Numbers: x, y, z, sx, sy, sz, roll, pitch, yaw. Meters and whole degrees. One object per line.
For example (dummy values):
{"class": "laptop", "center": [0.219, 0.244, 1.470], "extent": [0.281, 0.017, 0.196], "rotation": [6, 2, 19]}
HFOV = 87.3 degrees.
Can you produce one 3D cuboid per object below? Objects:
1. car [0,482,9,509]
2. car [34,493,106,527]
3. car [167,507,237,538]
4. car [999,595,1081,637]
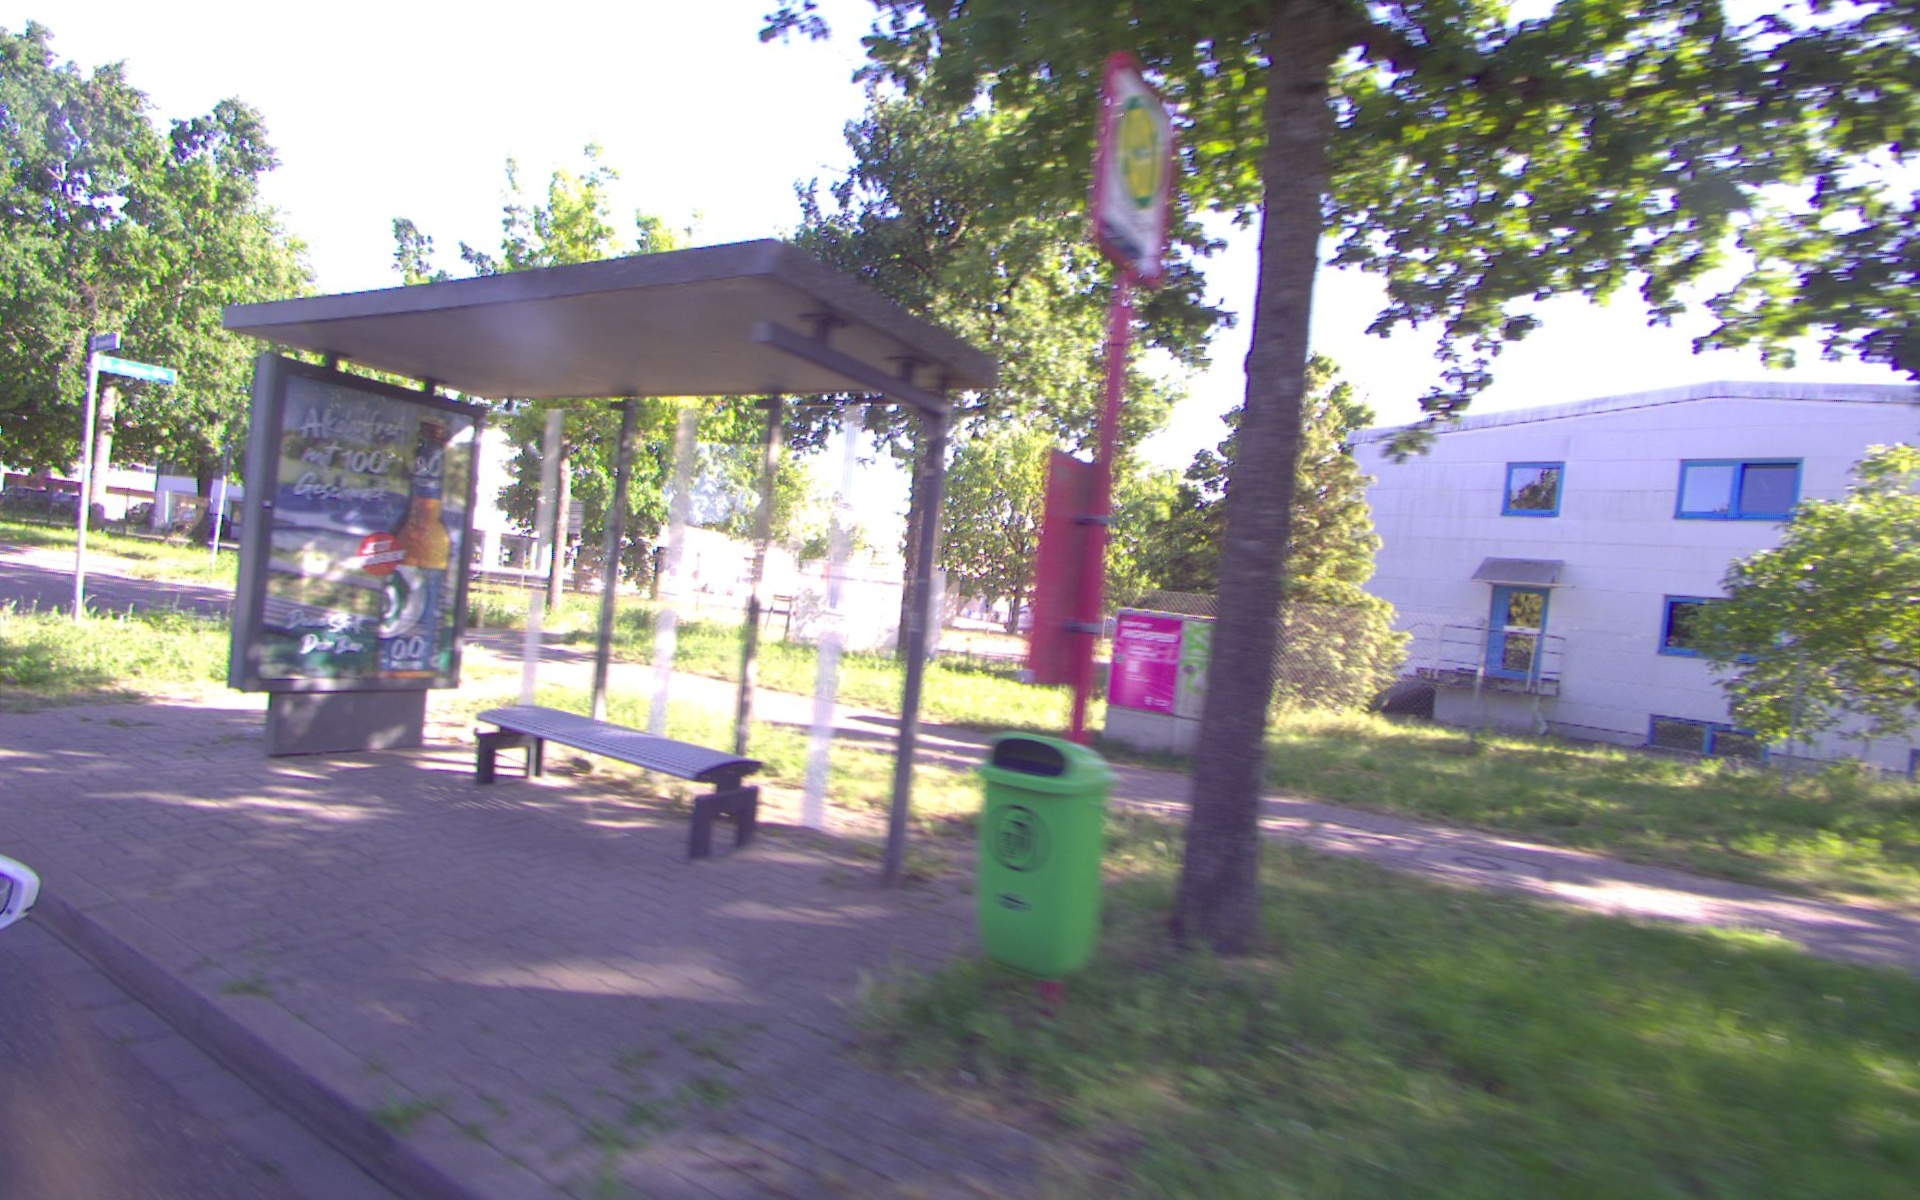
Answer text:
{"class": "car", "center": [-65.074, -7.130, 66.137], "extent": [4.560, 1.766, 2.188], "rotation": [7, 1, 27]}
{"class": "car", "center": [-62.577, -6.336, 70.761], "extent": [4.560, 1.766, 2.188], "rotation": [7, 1, 27]}
{"class": "car", "center": [-44.709, -4.571, 59.348], "extent": [3.701, 1.401, 1.768], "rotation": [7, 1, 26]}
{"class": "car", "center": [4.890, 0.943, 61.918], "extent": [4.672, 2.011, 1.989], "rotation": [7, 1, 44]}
